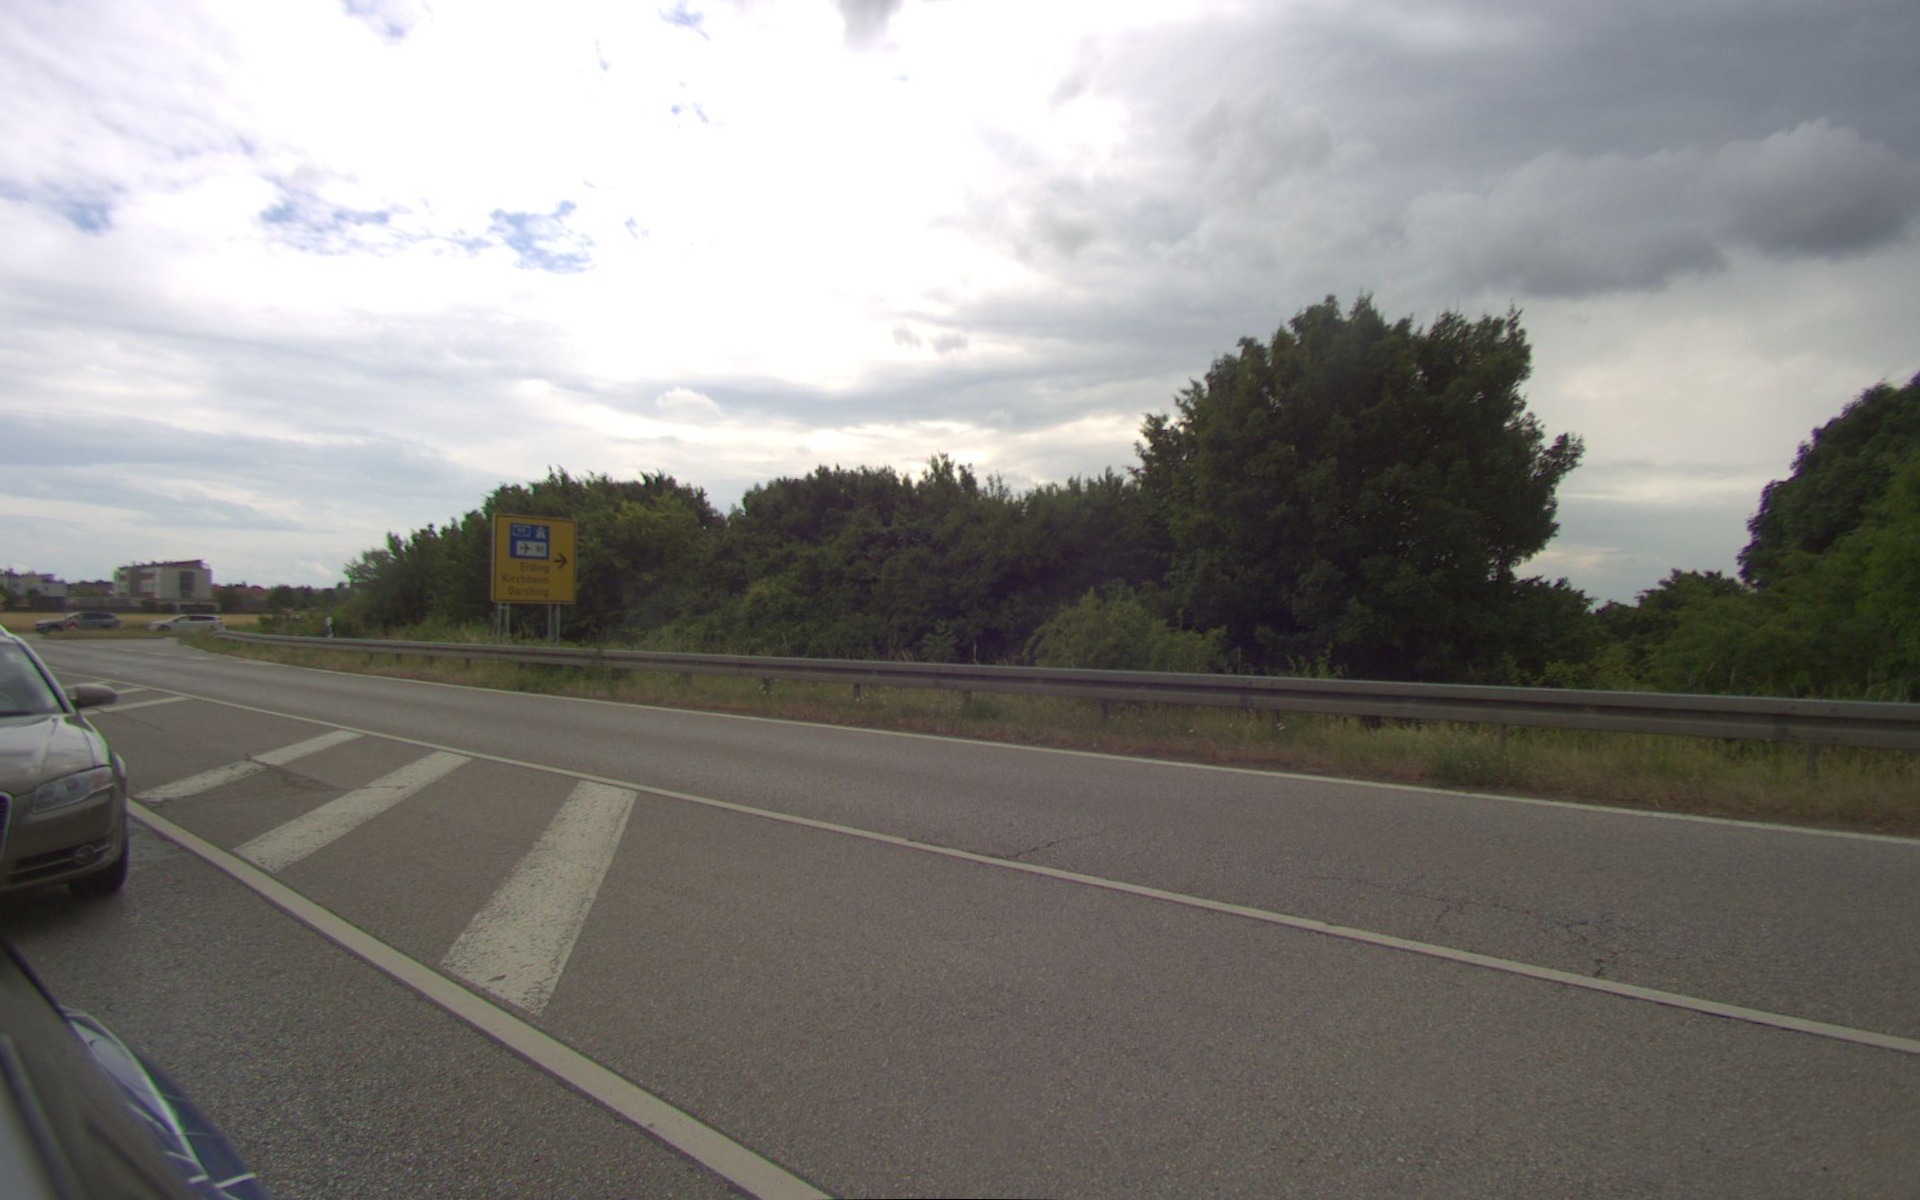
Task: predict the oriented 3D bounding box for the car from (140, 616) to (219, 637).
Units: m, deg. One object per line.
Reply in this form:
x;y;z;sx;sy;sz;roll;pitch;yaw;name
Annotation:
-58.147;1.979;75.439;4.605;1.510;2.003;0;-1;-40;car

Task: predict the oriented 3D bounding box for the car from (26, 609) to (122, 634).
-61.974;1.477;70.869;1.997;1.702;4.757;-1;-1;37;car

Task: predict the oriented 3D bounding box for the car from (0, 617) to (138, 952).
-6.020;0.827;5.504;4.202;1.455;1.708;-1;-1;41;car
